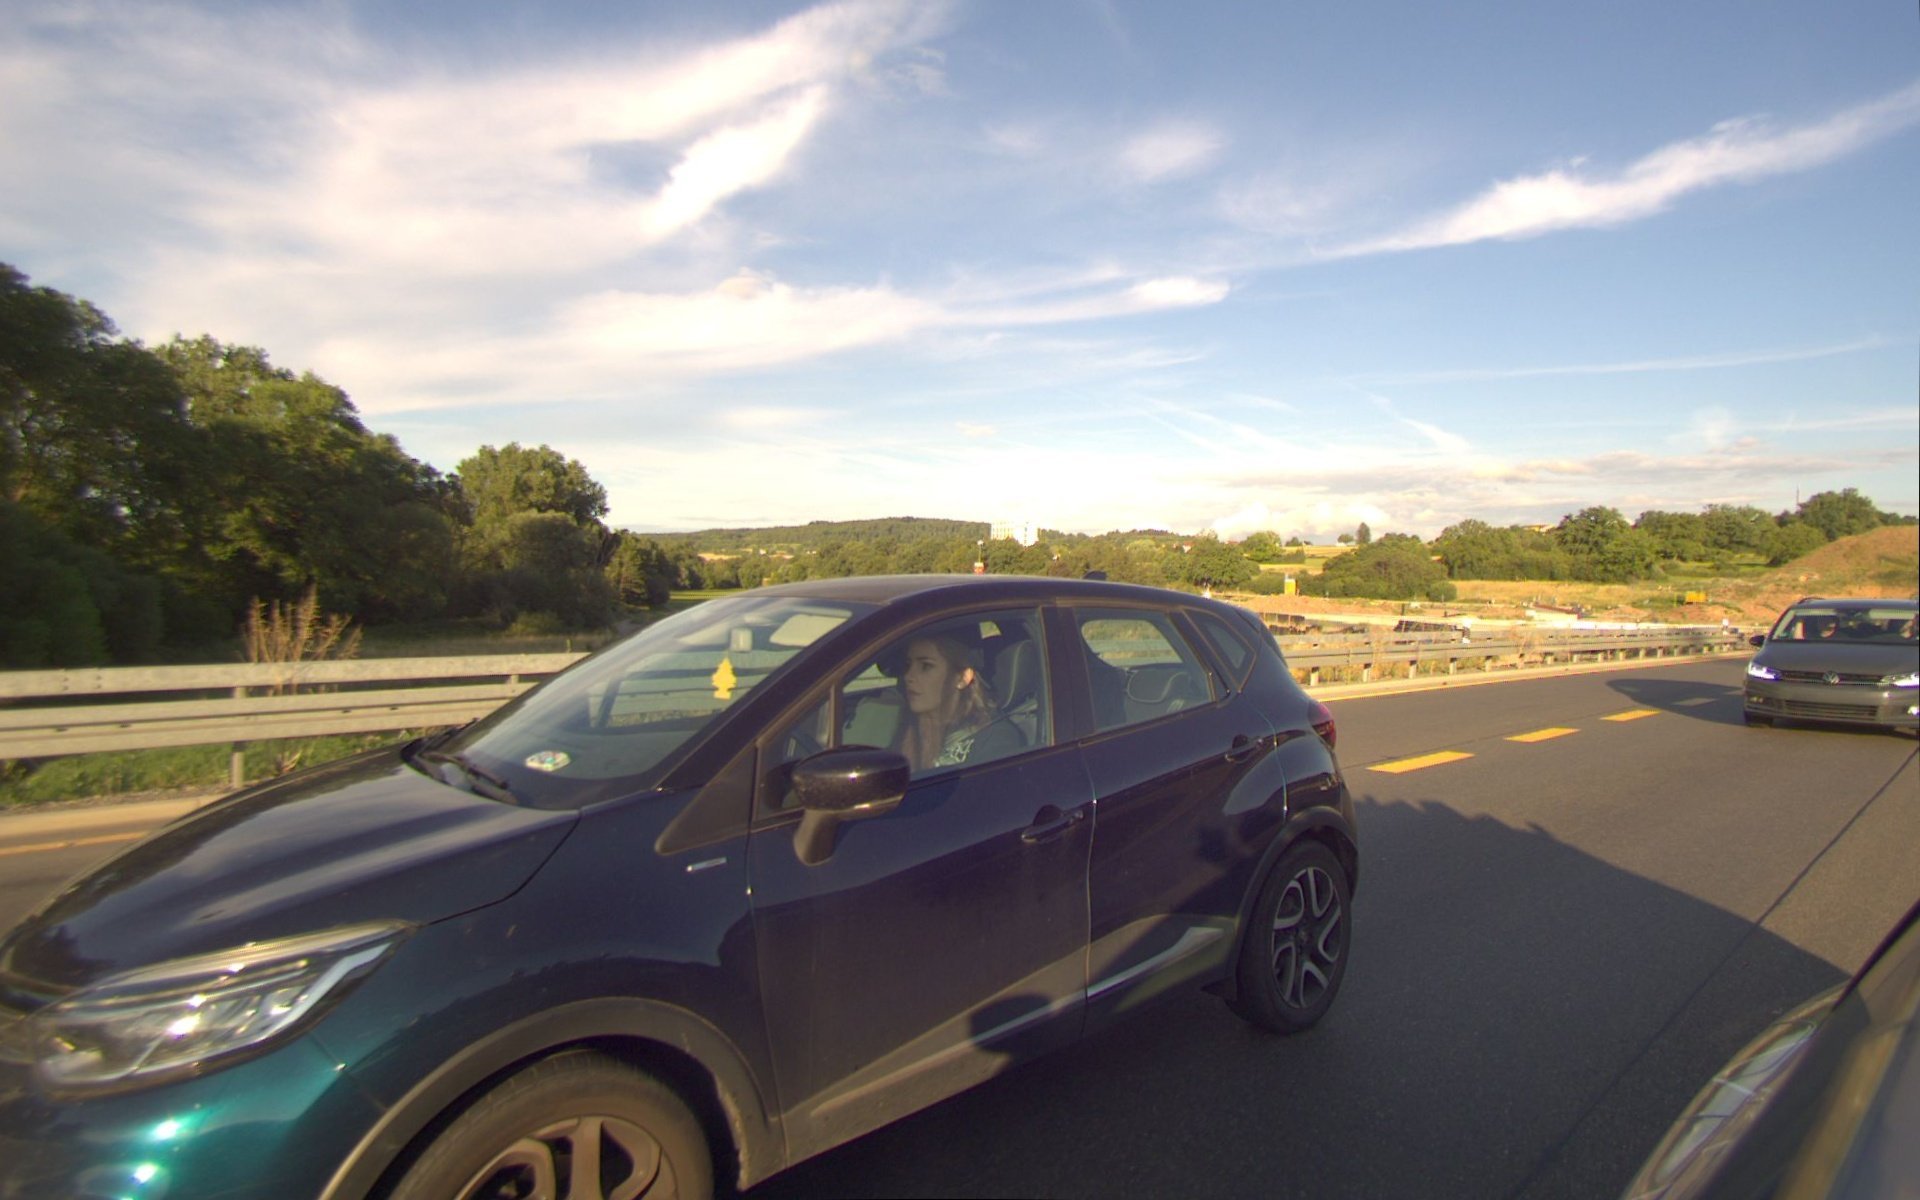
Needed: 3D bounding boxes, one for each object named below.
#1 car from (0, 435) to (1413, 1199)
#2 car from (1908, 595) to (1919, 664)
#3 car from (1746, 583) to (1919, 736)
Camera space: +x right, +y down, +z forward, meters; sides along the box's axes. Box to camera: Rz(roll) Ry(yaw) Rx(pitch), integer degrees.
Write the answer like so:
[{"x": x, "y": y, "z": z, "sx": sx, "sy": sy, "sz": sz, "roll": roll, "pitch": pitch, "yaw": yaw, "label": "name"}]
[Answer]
[{"x": -0.373, "y": 0.598, "z": 3.231, "sx": 4.062, "sy": 1.606, "sz": 1.777, "roll": 1, "pitch": 0, "yaw": -41, "label": "car"}, {"x": 26.529, "y": 0.772, "z": 26.698, "sx": 4.805, "sy": 1.735, "sz": 1.900, "roll": 1, "pitch": 0, "yaw": -43, "label": "car"}, {"x": 11.516, "y": 0.642, "z": 12.753, "sx": 4.449, "sy": 1.636, "sz": 1.814, "roll": 0, "pitch": -1, "yaw": -43, "label": "car"}]
